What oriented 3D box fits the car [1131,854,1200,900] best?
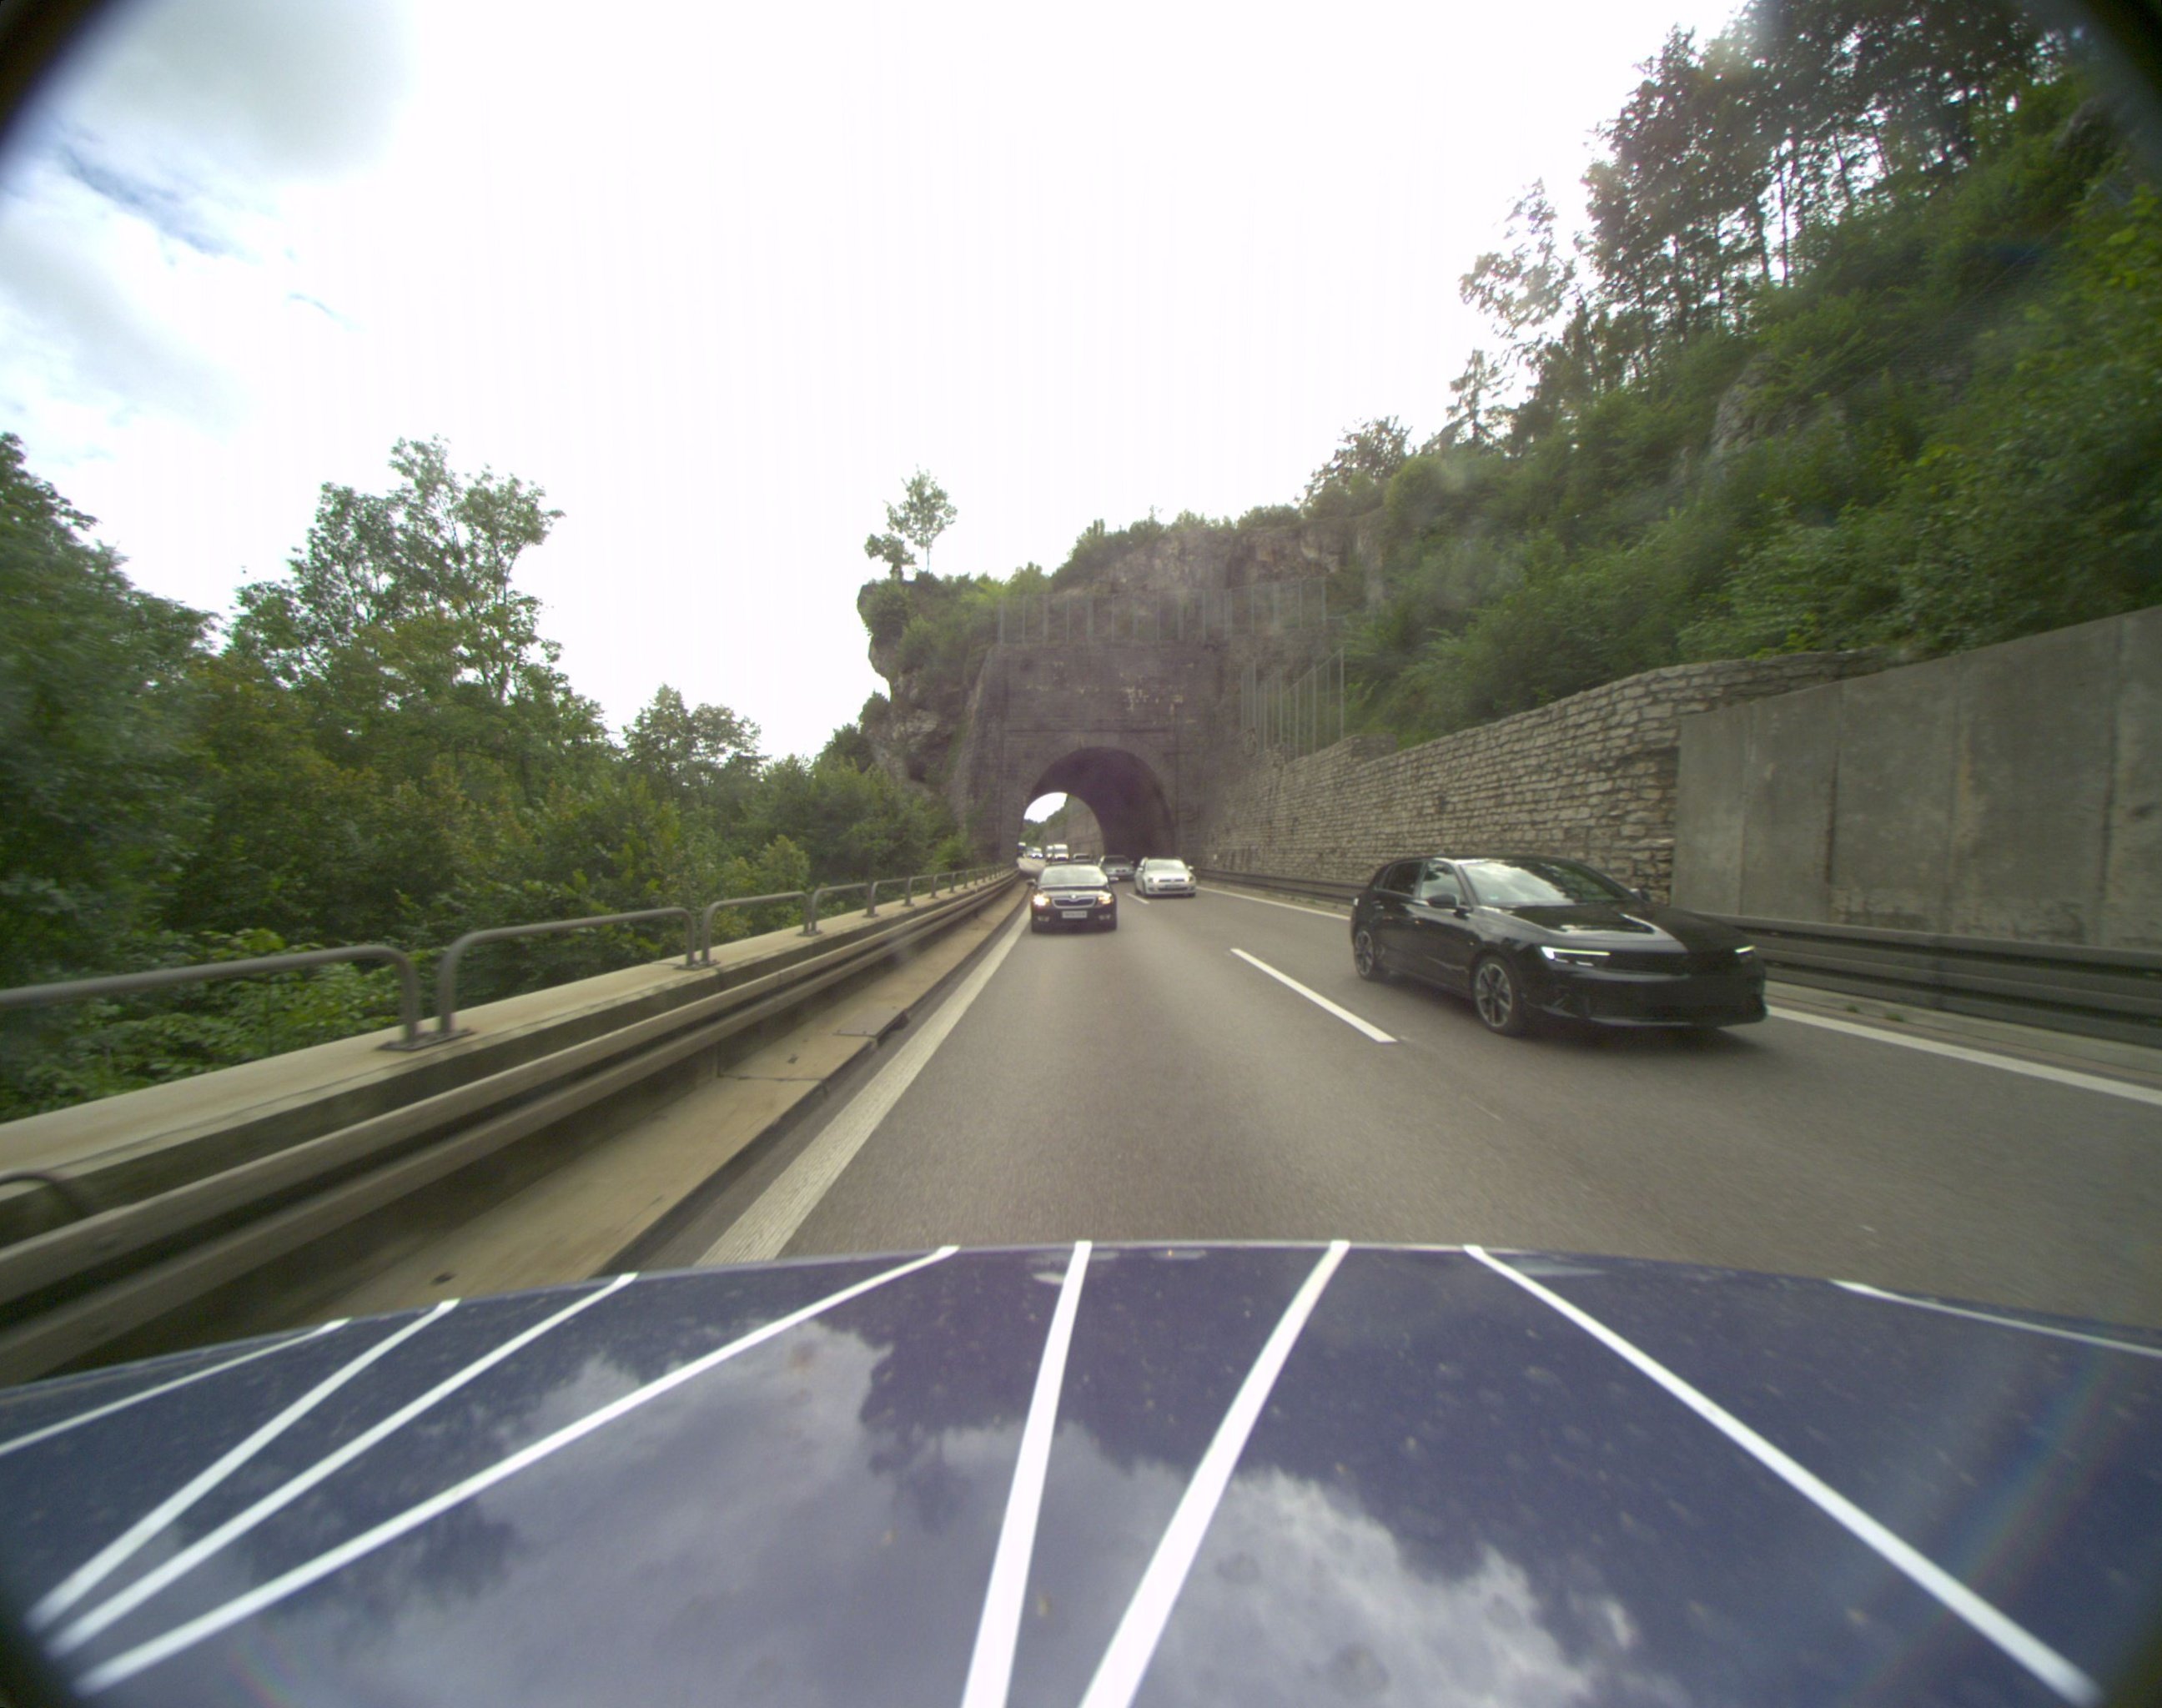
[{"bbox_3d":[3.002,0.772,27.853,1.850,1.473,4.626,-2,1,-2],"label":"car"}]

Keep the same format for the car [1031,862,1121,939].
[{"bbox_3d":[-0.130,0.934,17.066,1.677,1.418,4.472,-3,0,-1],"label":"car"}]

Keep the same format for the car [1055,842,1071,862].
[{"bbox_3d":[-2.417,-0.271,100.313,1.869,2.444,4.981,-3,2,-3],"label":"car"}]

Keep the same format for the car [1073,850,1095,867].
[{"bbox_3d":[0.255,0.411,70.205,1.923,1.452,4.230,-3,0,-1],"label":"car"}]

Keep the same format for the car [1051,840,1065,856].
[{"bbox_3d":[-3.754,-0.941,122.785,1.869,2.444,4.980,-3,2,-5],"label":"car"}]

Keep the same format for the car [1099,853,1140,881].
[{"bbox_3d":[2.148,0.715,43.525,1.833,1.448,5.134,-3,0,-2],"label":"car"}]

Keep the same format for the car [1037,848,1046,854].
[{"bbox_3d":[-9.510,-0.711,182.195,1.652,1.310,4.066,-2,1,-7],"label":"car"}]

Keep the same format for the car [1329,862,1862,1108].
[{"bbox_3d":[4.066,0.861,7.168,1.778,1.452,4.580,-2,0,-2],"label":"car"}]

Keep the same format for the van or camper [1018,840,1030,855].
[{"bbox_3d":[-15.306,-1.757,204.605,2.641,3.864,8.461,-2,1,-7],"label":"van or camper"}]
